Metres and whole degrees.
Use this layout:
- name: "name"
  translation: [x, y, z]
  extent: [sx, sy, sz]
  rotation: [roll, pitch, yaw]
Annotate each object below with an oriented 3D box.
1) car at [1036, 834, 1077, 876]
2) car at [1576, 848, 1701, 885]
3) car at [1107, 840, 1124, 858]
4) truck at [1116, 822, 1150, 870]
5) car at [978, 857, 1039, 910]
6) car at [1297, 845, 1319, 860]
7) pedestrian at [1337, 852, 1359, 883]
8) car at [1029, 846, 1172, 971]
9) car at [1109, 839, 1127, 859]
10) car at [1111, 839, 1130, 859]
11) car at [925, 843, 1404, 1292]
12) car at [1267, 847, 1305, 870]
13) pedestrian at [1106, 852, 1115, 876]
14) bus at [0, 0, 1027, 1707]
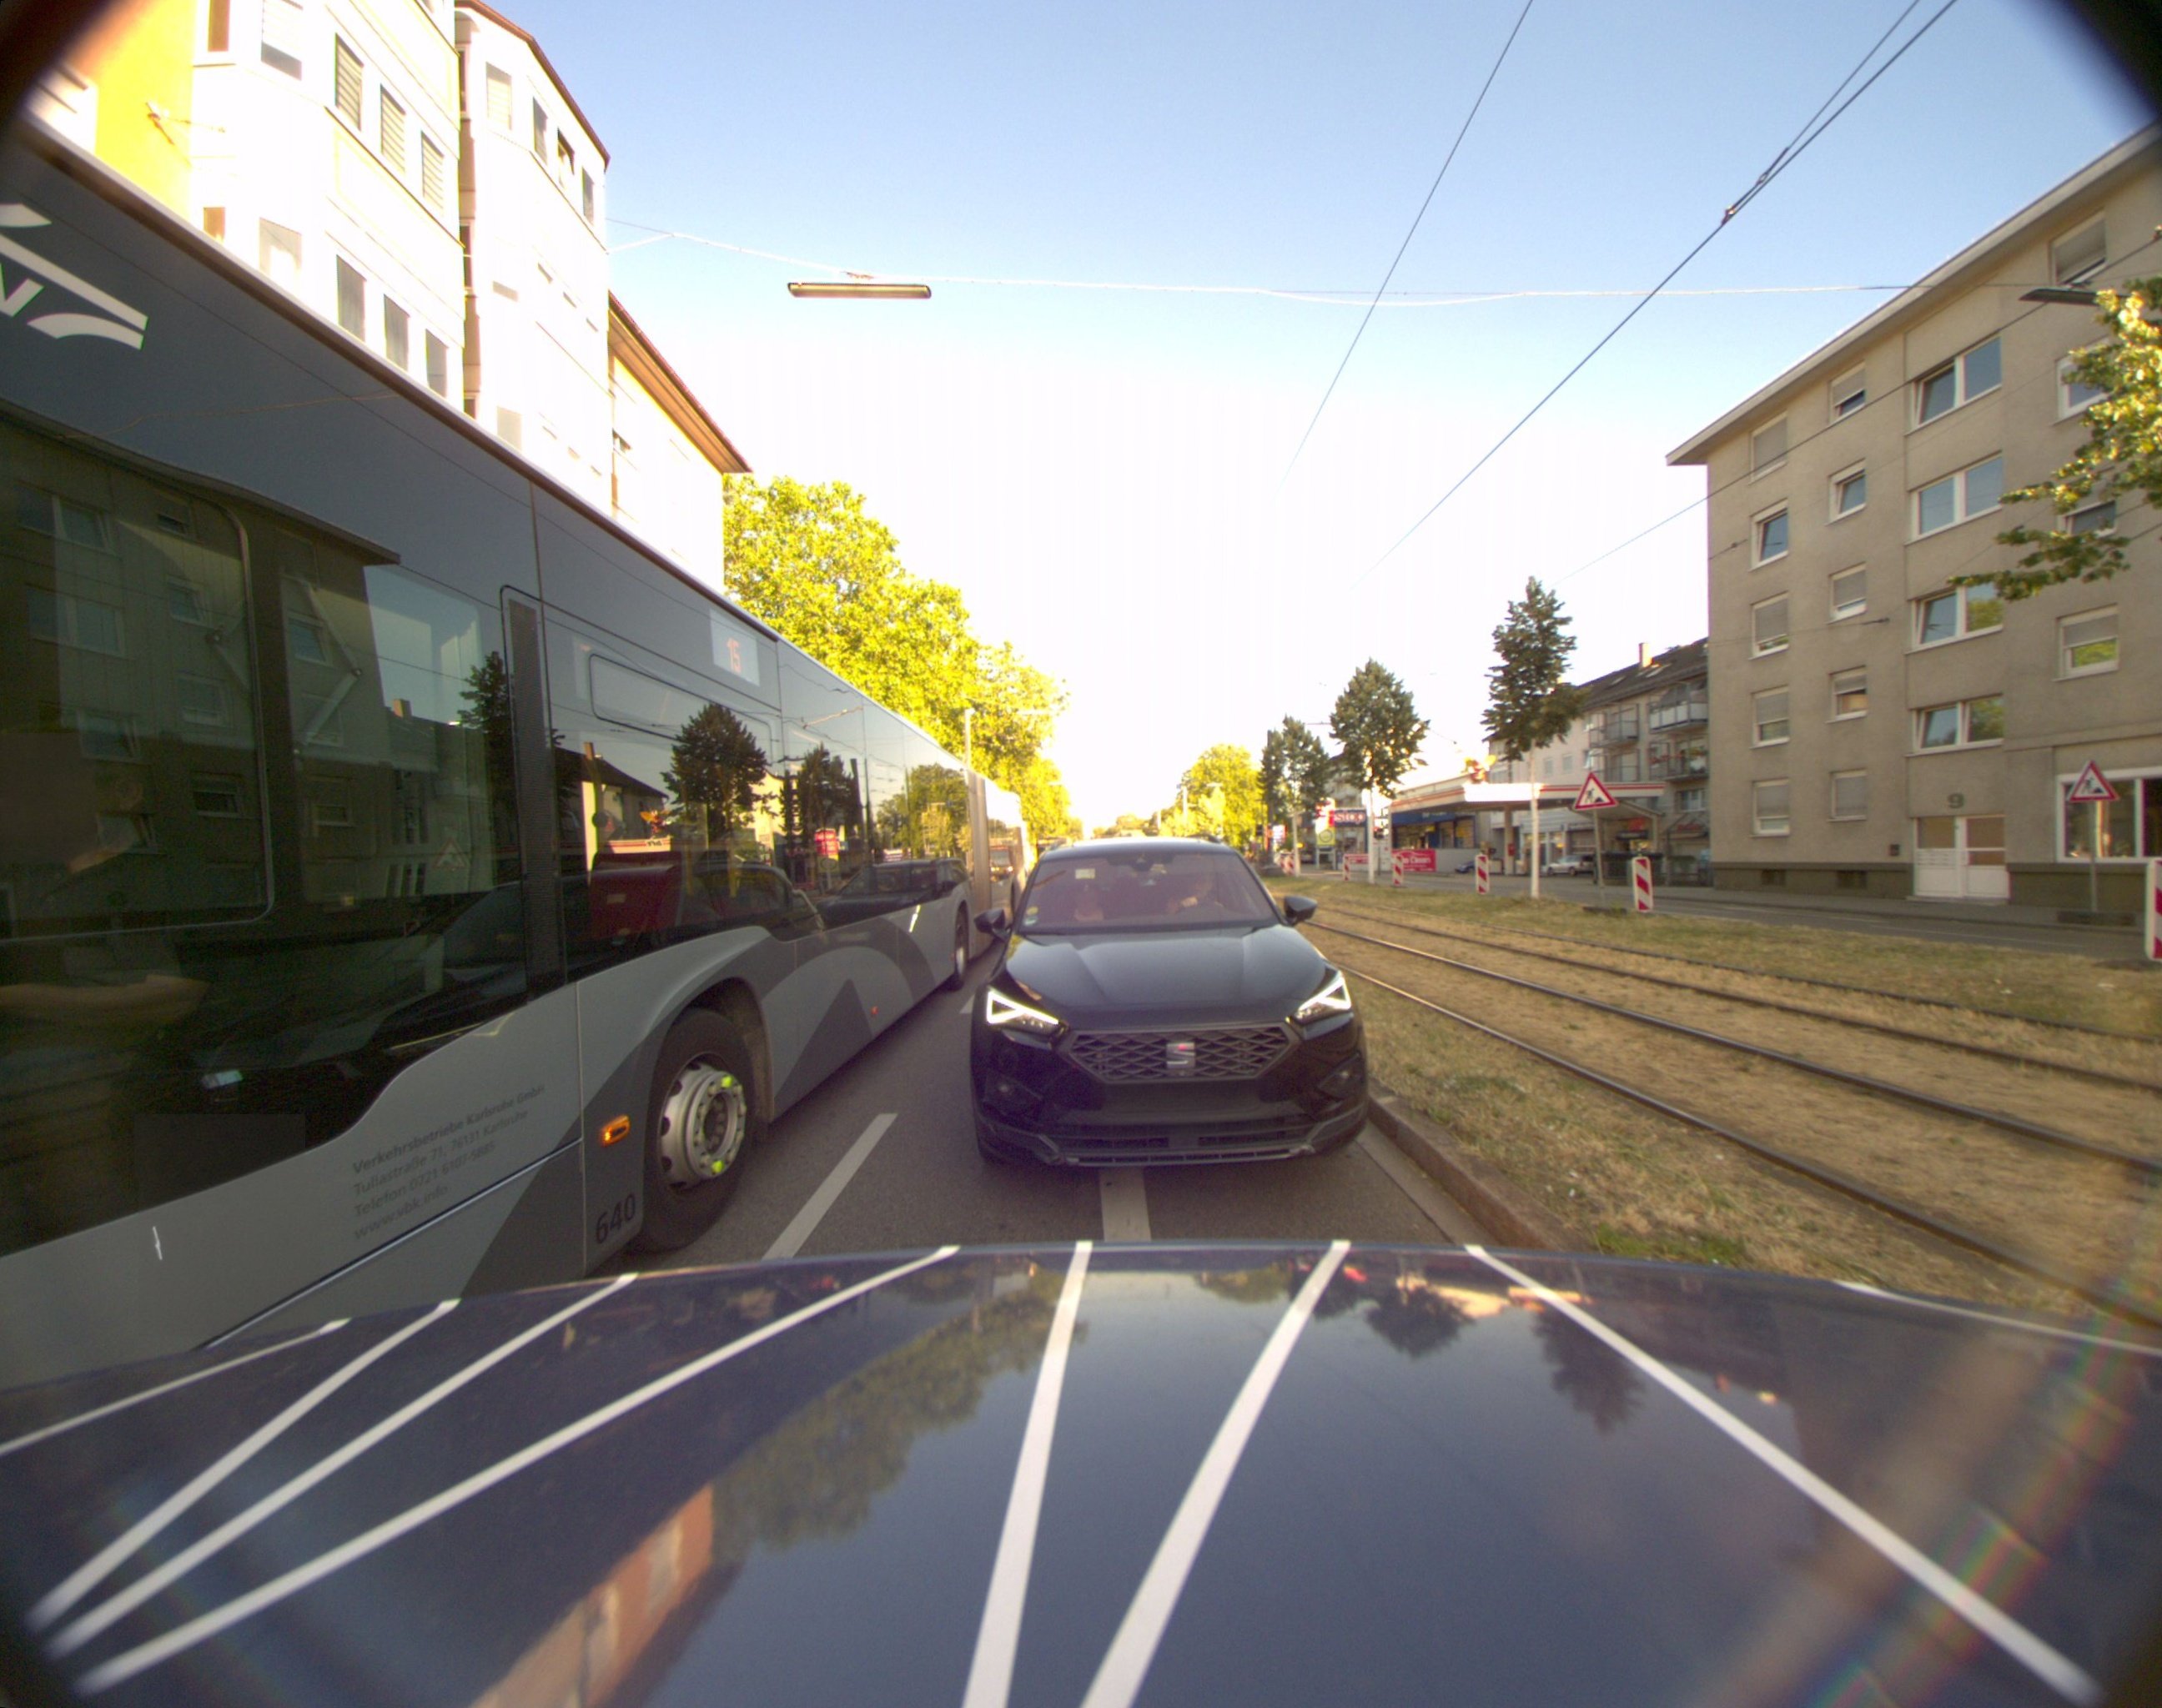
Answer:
- name: "car"
  translation: [-1.714, 0.035, 55.716]
  extent: [2.681, 2.875, 5.452]
  rotation: [-2, 1, 0]
- name: "car"
  translation: [22.779, 0.520, 31.148]
  extent: [3.727, 1.460, 1.908]
  rotation: [0, -1, 0]
- name: "car"
  translation: [3.997, -0.612, 87.883]
  extent: [1.767, 2.002, 3.791]
  rotation: [-2, 1, 1]
- name: "truck"
  translation: [4.319, -0.680, 64.432]
  extent: [2.306, 3.798, 7.723]
  rotation: [-2, 1, 1]
- name: "car"
  translation: [-2.455, 0.953, 26.517]
  extent: [1.750, 1.598, 3.823]
  rotation: [-2, 1, -1]
- name: "car"
  translation: [25.303, -0.195, 84.790]
  extent: [1.781, 1.547, 4.002]
  rotation: [-2, 1, 9]
- name: "pedestrian"
  translation: [10.977, 0.560, 31.218]
  extent: [0.664, 1.263, 0.581]
  rotation: [-2, 0, 1]
- name: "car"
  translation: [0.298, 0.764, 12.683]
  extent: [1.998, 1.739, 4.000]
  rotation: [-1, 0, 1]
- name: "car"
  translation: [4.088, -0.568, 83.562]
  extent: [1.767, 2.002, 3.791]
  rotation: [-2, 1, 1]
- name: "car"
  translation: [4.069, -0.511, 78.529]
  extent: [1.767, 2.002, 3.791]
  rotation: [-2, 1, 1]
- name: "car"
  translation: [0.344, 0.811, 4.887]
  extent: [1.774, 1.667, 4.000]
  rotation: [-2, 0, 1]
- name: "car"
  translation: [16.238, 0.347, 60.393]
  extent: [1.998, 1.725, 4.394]
  rotation: [-1, 1, 3]
- name: "pedestrian"
  translation: [2.413, 0.813, 62.012]
  extent: [0.625, 2.002, 0.695]
  rotation: [-2, 0, 0]
- name: "bus"
  translation: [-2.788, 0.213, 9.058]
  extent: [2.773, 3.131, 17.740]
  rotation: [-2, 0, 1]
